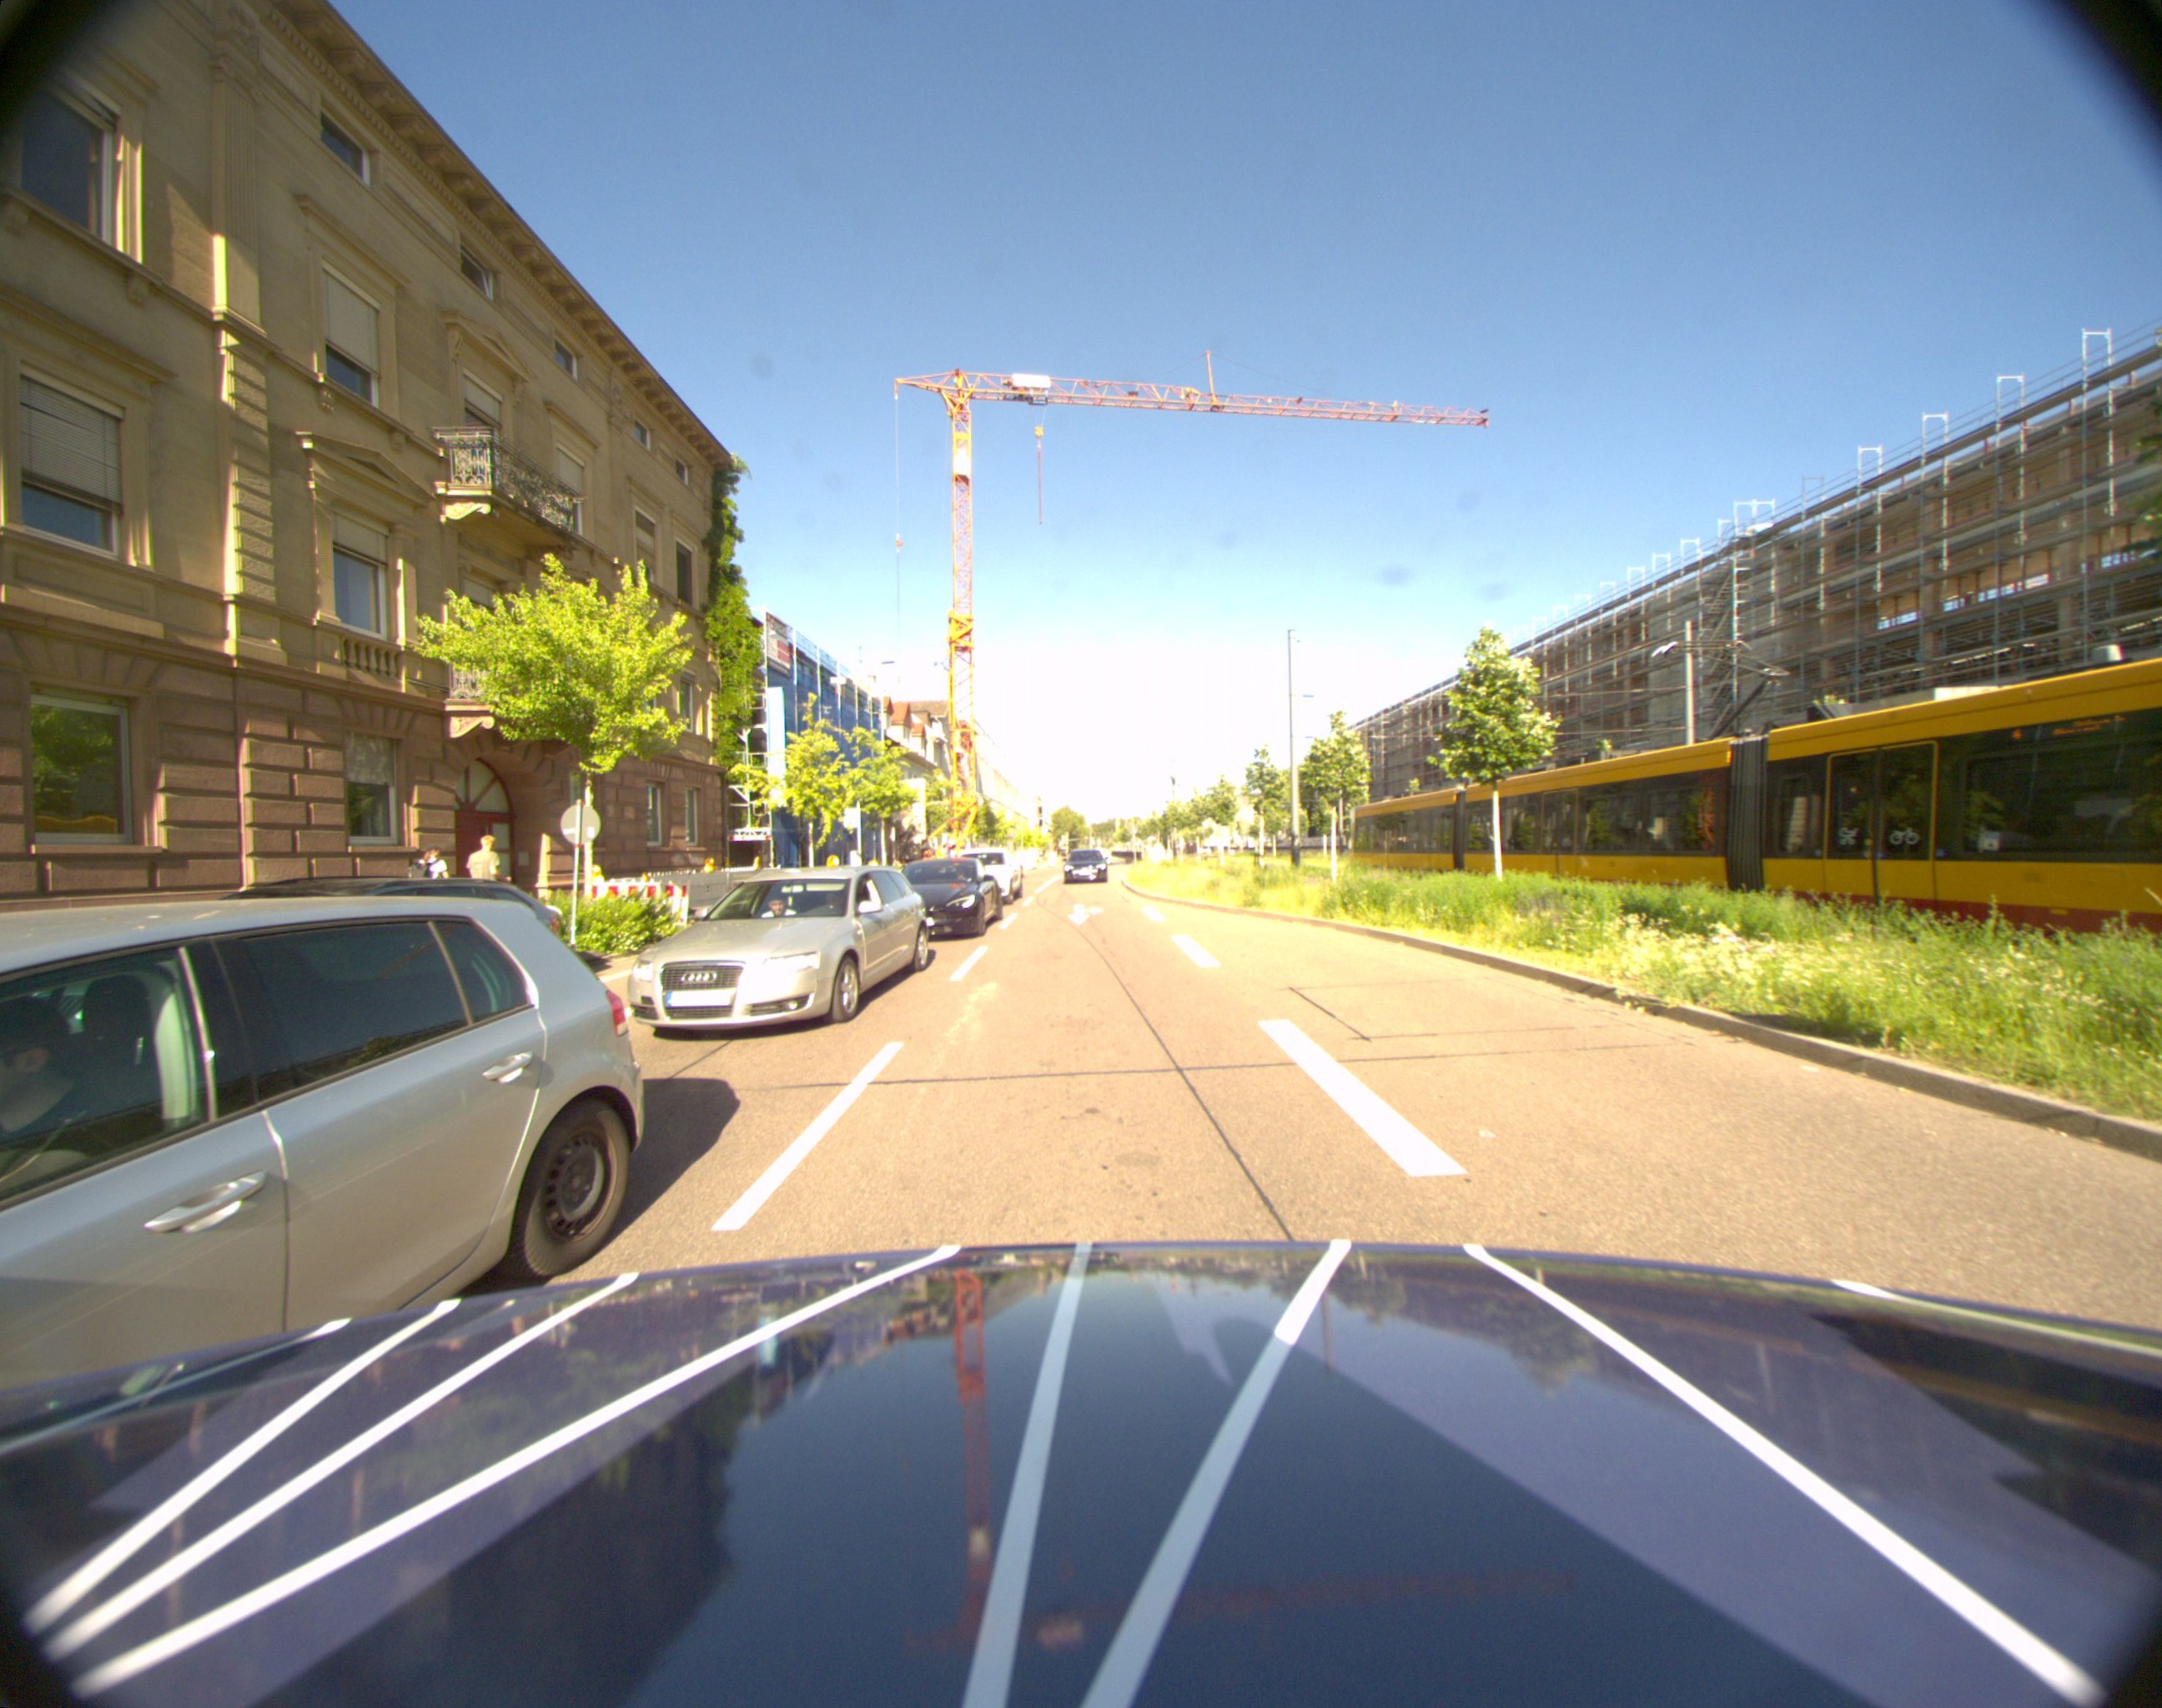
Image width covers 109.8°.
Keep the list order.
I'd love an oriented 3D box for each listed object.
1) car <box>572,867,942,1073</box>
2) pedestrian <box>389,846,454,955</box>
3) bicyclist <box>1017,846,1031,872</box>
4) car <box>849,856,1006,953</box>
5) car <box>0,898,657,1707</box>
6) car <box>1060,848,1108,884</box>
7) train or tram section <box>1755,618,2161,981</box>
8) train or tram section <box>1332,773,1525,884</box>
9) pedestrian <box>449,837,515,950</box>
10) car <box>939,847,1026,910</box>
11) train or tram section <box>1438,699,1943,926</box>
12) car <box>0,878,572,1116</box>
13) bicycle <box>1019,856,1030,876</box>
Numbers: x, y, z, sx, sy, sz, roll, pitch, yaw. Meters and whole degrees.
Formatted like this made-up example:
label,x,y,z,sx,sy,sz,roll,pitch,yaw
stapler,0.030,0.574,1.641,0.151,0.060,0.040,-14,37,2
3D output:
label,x,y,z,sx,sy,sz,roll,pitch,yaw
car,-2.963,0.948,8.319,1.752,1.419,4.838,-2,1,2
pedestrian,-11.251,0.776,12.976,0.564,1.810,0.587,2,1,0
bicyclist,-3.290,0.277,43.832,0.755,1.454,0.587,-2,2,-5
car,-2.757,0.844,14.800,2.056,1.435,4.523,-3,1,0
car,-2.818,1.010,1.346,1.754,1.518,4.004,-2,1,1
car,0.199,0.498,33.990,1.927,1.435,4.177,-1,1,3
train or tram section,12.101,-0.542,6.011,2.822,3.618,12.790,-1,1,3
train or tram section,13.580,-0.937,31.458,2.822,3.618,12.790,-1,1,3
pedestrian,-10.334,0.668,13.125,0.660,1.902,0.587,2,1,0
car,-2.817,0.647,22.597,1.934,1.624,4.000,-3,1,1
train or tram section,12.864,-0.755,18.714,2.822,3.618,12.790,-1,1,3
car,-7.639,1.104,7.798,1.652,1.467,4.700,1,1,0
bicycle,-3.270,0.682,43.890,0.610,1.144,1.986,-1,1,-5
